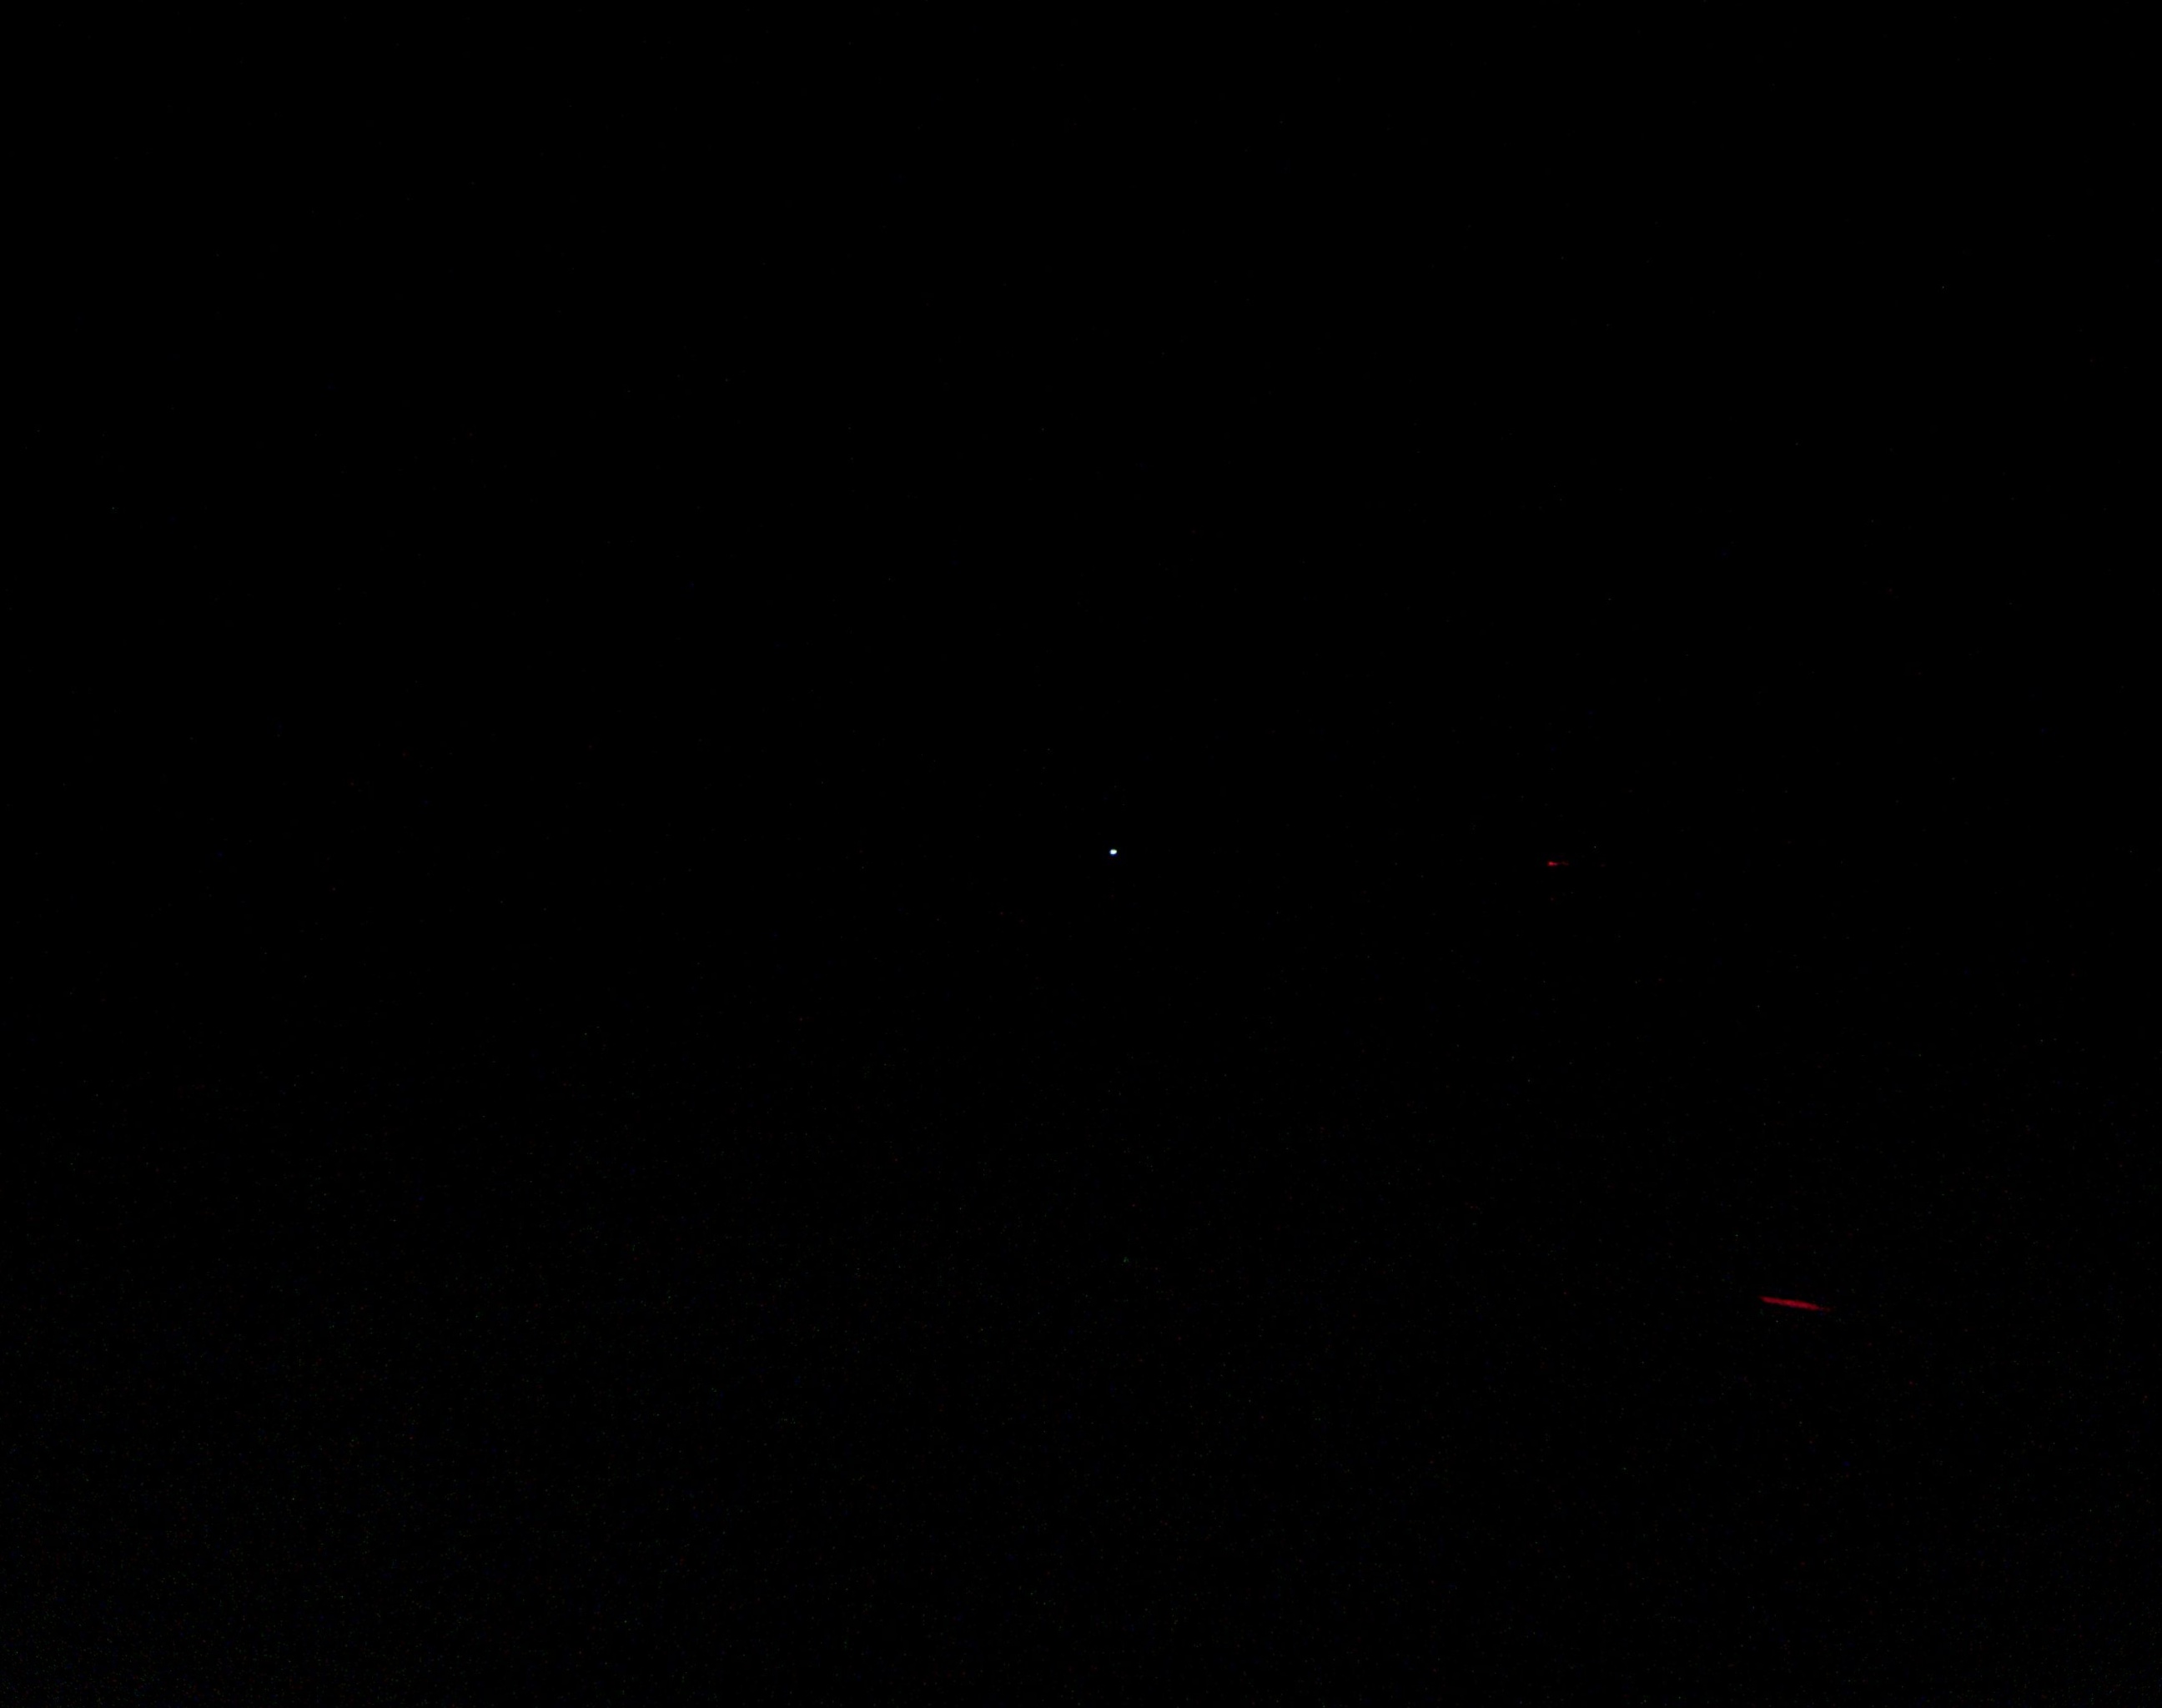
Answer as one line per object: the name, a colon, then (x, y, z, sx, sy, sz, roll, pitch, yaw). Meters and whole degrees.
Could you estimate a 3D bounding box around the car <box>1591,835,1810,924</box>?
car: (15.888, 0.562, 19.896, 1.998, 2.002, 4.608, -2, 1, 1)

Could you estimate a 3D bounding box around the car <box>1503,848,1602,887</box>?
car: (20.996, 0.548, 34.041, 1.998, 1.510, 3.999, -2, 1, 1)
